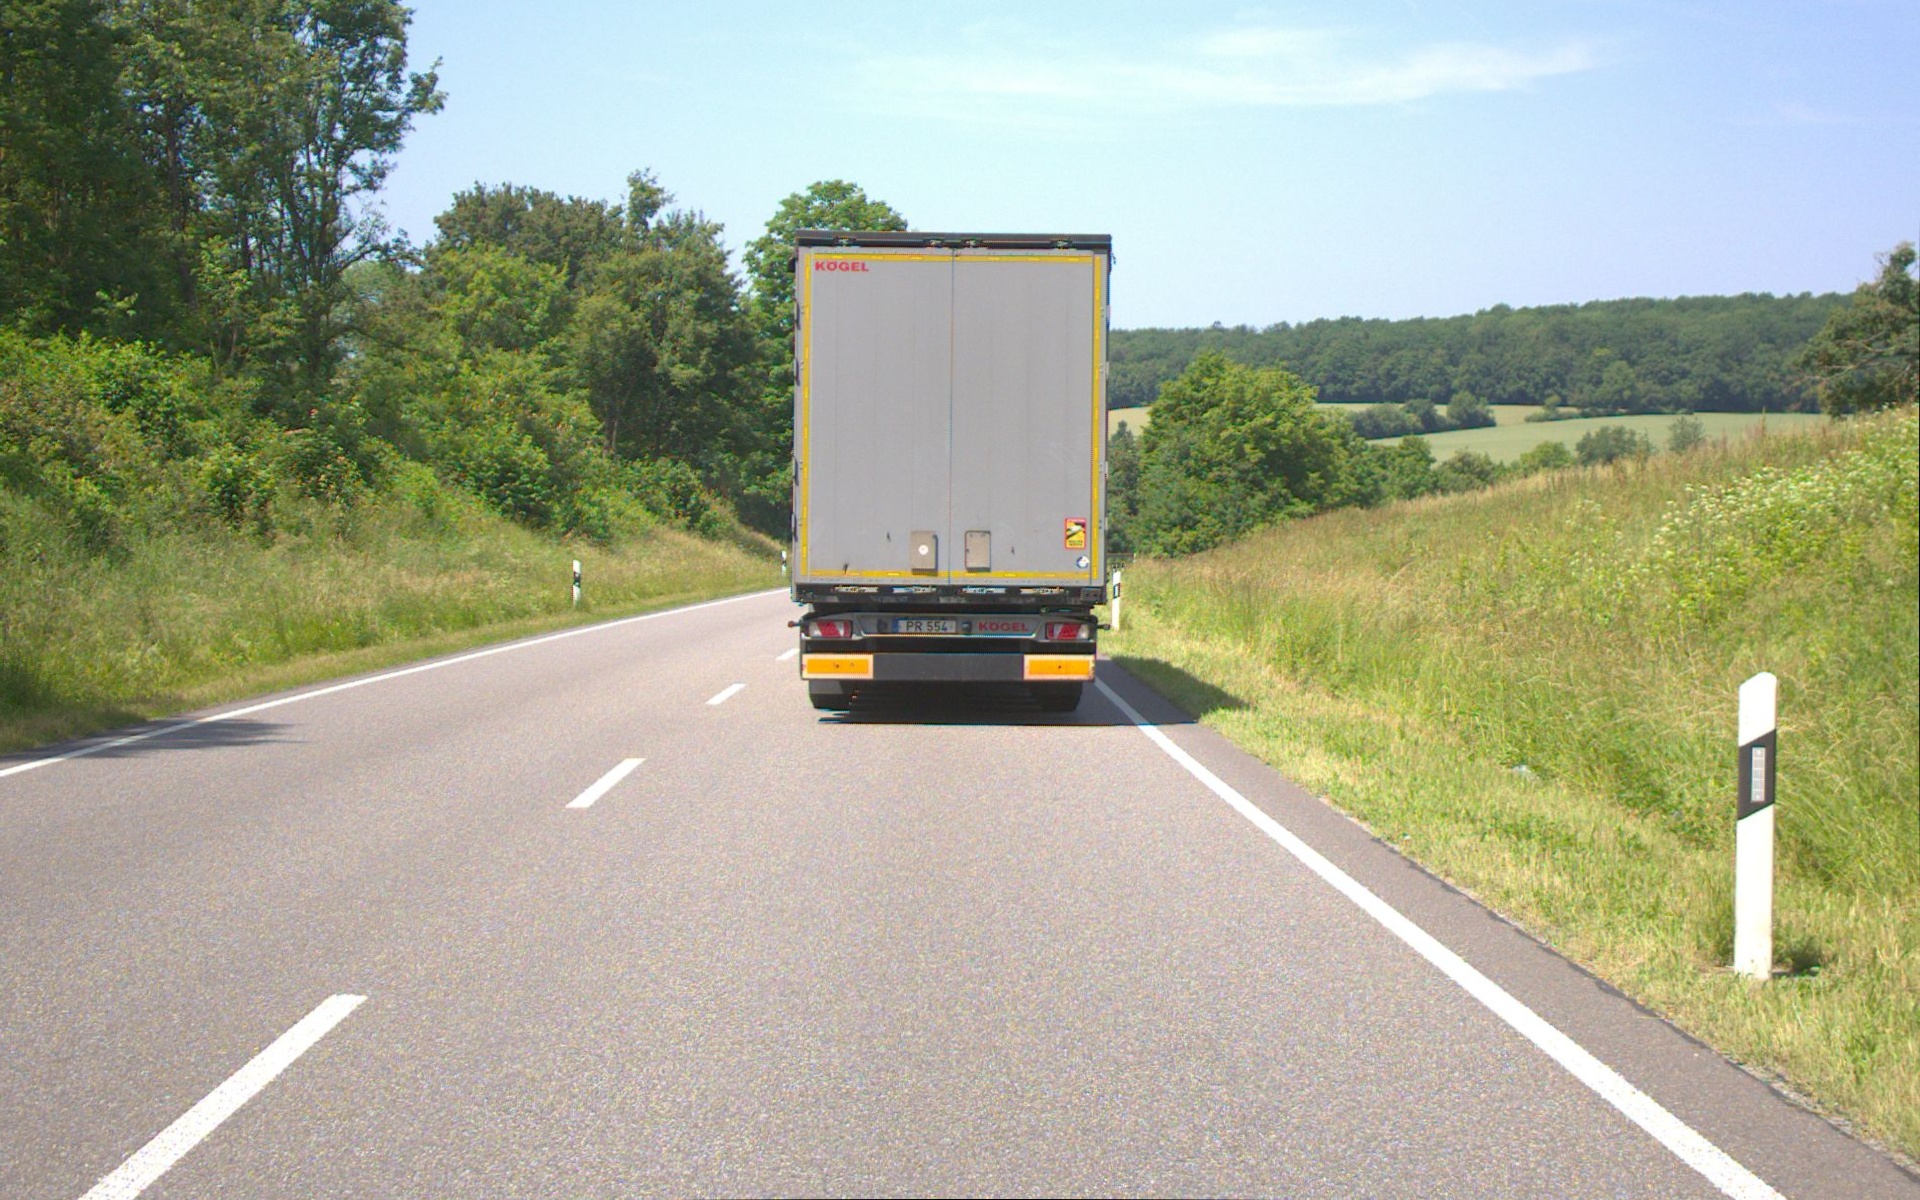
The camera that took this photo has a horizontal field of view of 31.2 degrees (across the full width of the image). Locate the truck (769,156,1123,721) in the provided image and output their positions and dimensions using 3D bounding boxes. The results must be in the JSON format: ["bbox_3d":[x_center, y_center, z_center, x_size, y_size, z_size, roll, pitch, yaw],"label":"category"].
[{"bbox_3d":[-0.179,-1.408,33.430,2.817,4.517,11.769,0,1,-1],"label":"truck"}]
